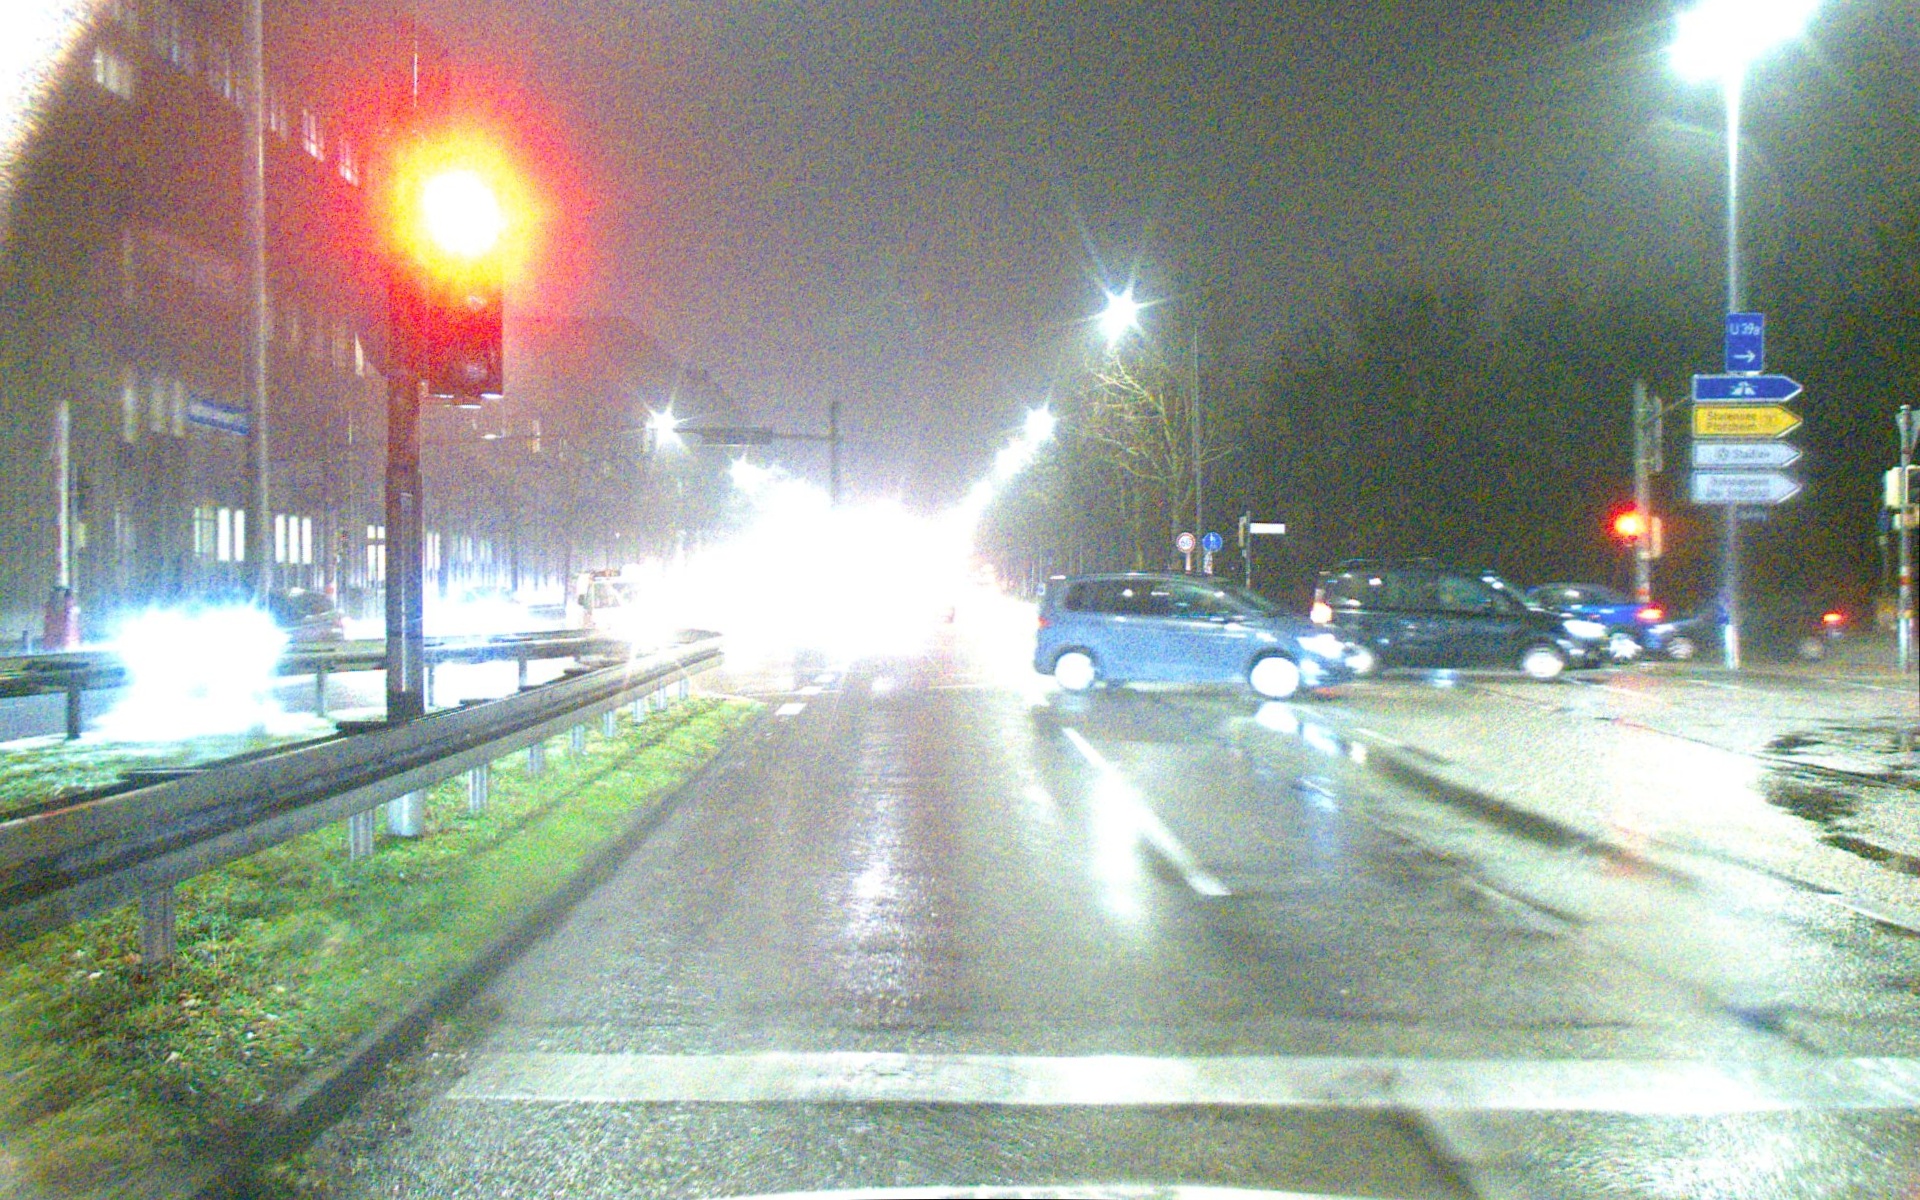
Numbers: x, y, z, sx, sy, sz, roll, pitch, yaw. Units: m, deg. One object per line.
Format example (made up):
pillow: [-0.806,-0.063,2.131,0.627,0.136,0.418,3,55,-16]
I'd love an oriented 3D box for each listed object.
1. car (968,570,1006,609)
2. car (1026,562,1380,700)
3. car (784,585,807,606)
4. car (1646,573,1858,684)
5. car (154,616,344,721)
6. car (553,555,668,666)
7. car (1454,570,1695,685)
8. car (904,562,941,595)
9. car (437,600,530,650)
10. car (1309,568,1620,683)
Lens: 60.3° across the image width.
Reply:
car: [1.430,-0.525,89.423,1.996,2.049,4.307,0,0,0]
car: [3.249,0.389,22.228,4.318,1.702,1.956,0,-1,28]
car: [-14.548,-0.370,146.580,1.715,1.738,4.496,-1,0,-2]
car: [16.636,0.582,34.912,3.553,2.253,2.217,0,-1,9]
car: [-11.204,1.030,26.299,1.665,1.543,3.565,0,0,-4]
car: [-6.882,0.206,32.321,1.674,2.049,3.545,0,-1,-21]
car: [11.339,0.498,30.773,3.902,2.049,2.002,0,-1,10]
car: [-2.623,-1.473,115.161,2.393,2.232,5.075,0,0,-4]
car: [-14.830,0.757,51.690,1.787,1.490,3.999,0,0,-1]
car: [7.719,0.363,25.338,4.407,1.646,1.908,0,-1,21]
